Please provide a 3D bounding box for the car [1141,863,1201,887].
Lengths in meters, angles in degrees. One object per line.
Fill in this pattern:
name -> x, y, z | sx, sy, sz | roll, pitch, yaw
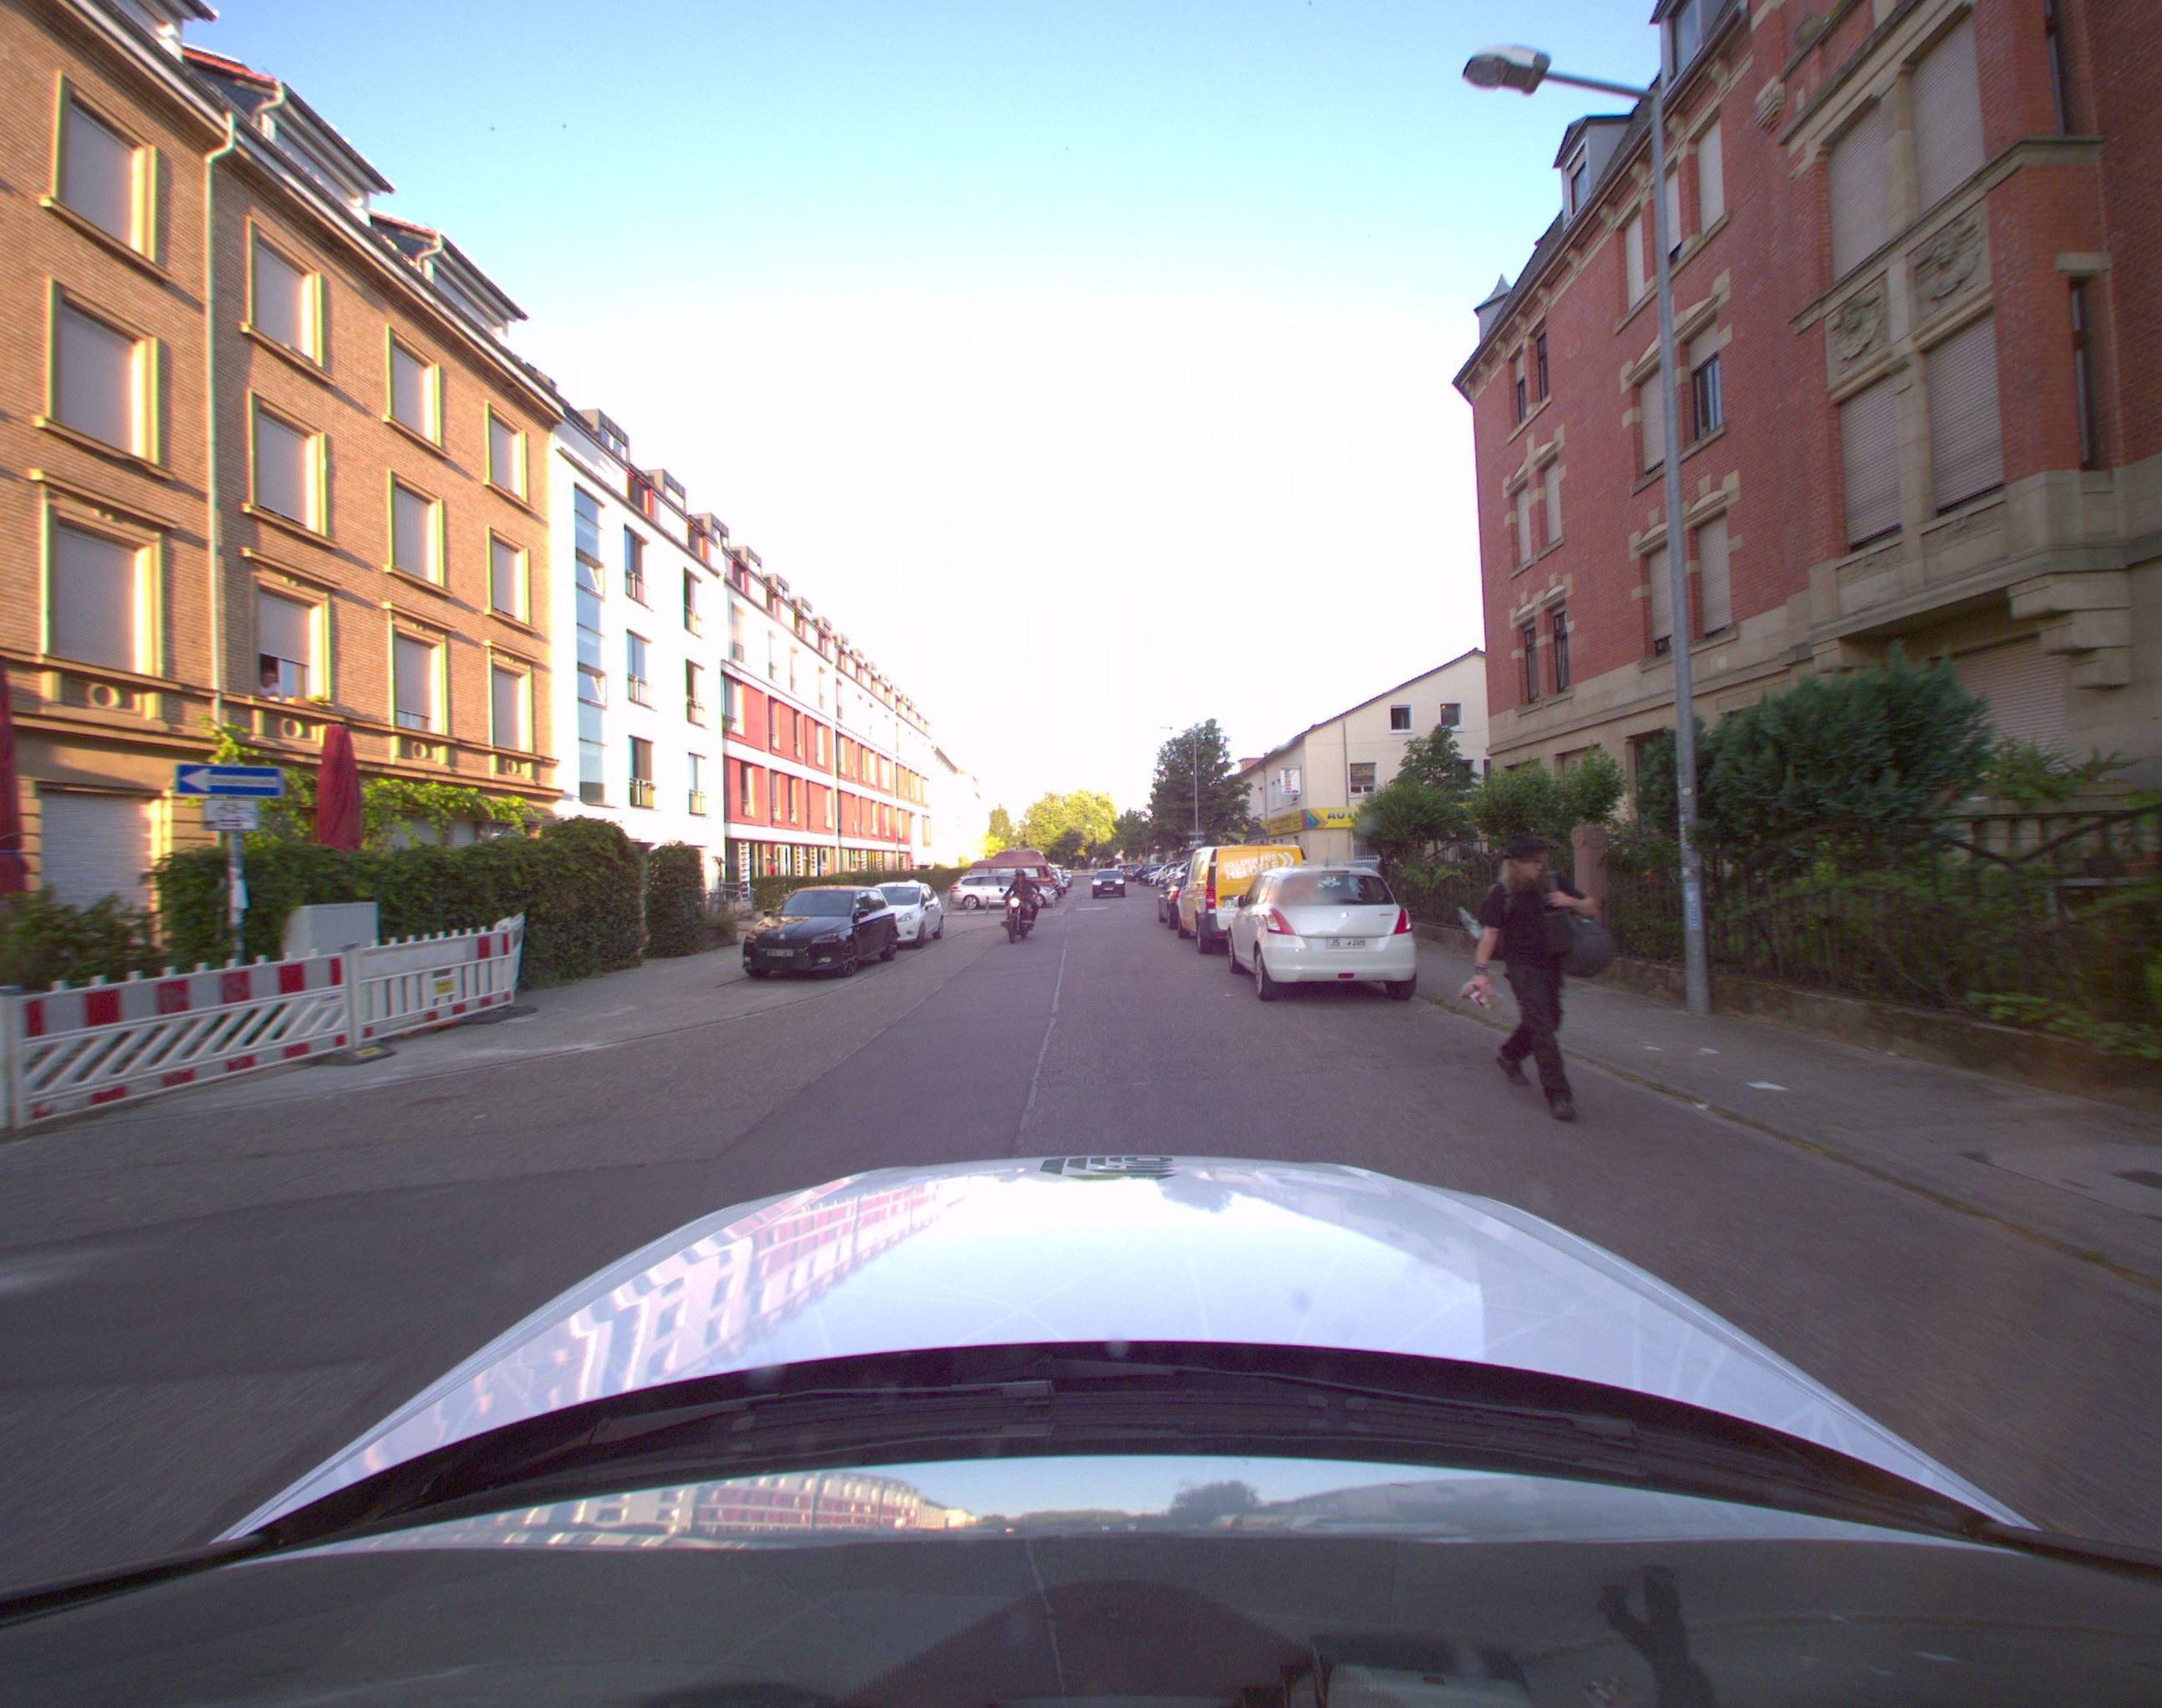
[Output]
car -> 7.754, 1.835, 70.610 | 4.929, 1.689, 2.076 | -4, -1, -1

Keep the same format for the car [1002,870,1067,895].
car -> -3.107, 1.922, 55.184 | 4.241, 1.660, 2.000 | -1, -1, 1

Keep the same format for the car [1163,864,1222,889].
car -> 7.979, 1.623, 58.458 | 3.897, 1.526, 1.940 | -4, -1, 2

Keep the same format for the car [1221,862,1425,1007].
car -> 2.848, 0.875, 10.429 | 1.667, 1.477, 3.865 | -1, -1, 4

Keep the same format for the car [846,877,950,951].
car -> -4.289, 1.353, 19.660 | 1.646, 1.530, 4.014 | -1, -1, -2

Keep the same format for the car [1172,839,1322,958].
car -> 2.978, 0.774, 15.733 | 1.887, 1.884, 5.082 | -1, -1, 1

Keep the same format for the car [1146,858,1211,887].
car -> 7.814, 1.494, 65.723 | 4.929, 1.958, 2.048 | -4, -1, -1

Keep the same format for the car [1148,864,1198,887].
car -> 8.492, 1.988, 75.503 | 4.304, 1.804, 1.810 | -4, -1, -1

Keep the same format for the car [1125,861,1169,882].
car -> 7.142, 1.920, 88.094 | 4.470, 1.912, 1.685 | -4, -1, -4

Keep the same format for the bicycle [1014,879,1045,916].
bicycle -> -1.822, 1.532, 29.216 | 0.804, 1.221, 2.867 | -1, -1, 3

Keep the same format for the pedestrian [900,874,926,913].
pedestrian -> -6.645, 1.553, 32.314 | 0.829, 1.501, 0.798 | -1, -1, 1

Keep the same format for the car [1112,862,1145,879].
car -> 6.022, 2.123, 103.722 | 3.960, 1.912, 2.046 | -4, -1, -4

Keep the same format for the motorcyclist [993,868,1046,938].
motorcyclist -> -1.412, 1.109, 18.759 | 0.884, 1.505, 0.972 | -5, -2, 11

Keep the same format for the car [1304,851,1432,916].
car -> 7.343, 0.741, 21.319 | 1.720, 1.424, 4.422 | -3, -1, 0

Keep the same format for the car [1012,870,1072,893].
car -> -2.827, 1.980, 59.536 | 4.241, 1.652, 1.888 | -1, -1, 1

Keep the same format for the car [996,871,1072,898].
car -> -2.692, 1.735, 47.285 | 4.193, 1.490, 1.850 | -1, -1, 1

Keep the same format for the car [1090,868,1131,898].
car -> 1.693, 1.561, 44.927 | 1.769, 1.517, 4.009 | -3, -1, 8

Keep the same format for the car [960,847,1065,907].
car -> -3.066, 1.040, 37.125 | 4.493, 2.584, 2.001 | -1, -1, 2

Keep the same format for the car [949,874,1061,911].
car -> -3.144, 1.592, 34.534 | 4.604, 1.460, 1.879 | 0, -1, -3

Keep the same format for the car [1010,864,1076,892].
car -> -2.847, 1.805, 62.097 | 4.833, 2.021, 1.906 | -1, -1, 1

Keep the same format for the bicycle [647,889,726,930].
bicycle -> -11.552, 1.607, 23.877 | 1.908, 1.142, 0.812 | -1, -1, 1

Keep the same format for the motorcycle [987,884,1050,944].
motorcycle -> -1.399, 1.349, 18.774 | 0.841, 1.209, 2.081 | -5, -2, 11

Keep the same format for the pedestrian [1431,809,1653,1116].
pedestrian -> 2.815, 0.619, 5.104 | 0.883, 1.722, 0.961 | -1, -1, 7

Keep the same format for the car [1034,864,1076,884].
car -> -2.872, 2.190, 90.607 | 4.517, 2.134, 2.000 | -1, -1, 1

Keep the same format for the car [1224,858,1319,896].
car -> 8.922, 1.061, 38.340 | 4.035, 1.514, 1.757 | -3, 0, 2

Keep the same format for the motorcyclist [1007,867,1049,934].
motorcyclist -> -1.272, 1.105, 19.521 | 0.782, 1.540, 0.547 | -5, -2, 10

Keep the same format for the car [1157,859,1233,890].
car -> 7.754, 1.374, 55.850 | 4.925, 1.742, 2.050 | -4, -1, 1

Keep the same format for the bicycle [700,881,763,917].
bicycle -> -11.366, 1.456, 26.503 | 1.768, 1.148, 0.611 | -1, -1, 3

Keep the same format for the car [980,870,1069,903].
car -> -2.692, 1.578, 39.635 | 4.196, 1.538, 1.790 | -1, -1, -1

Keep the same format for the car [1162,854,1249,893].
car -> 7.643, 1.202, 50.509 | 4.972, 1.983, 2.220 | -4, -1, 1

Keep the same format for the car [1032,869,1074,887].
car -> -2.830, 2.434, 83.188 | 4.241, 1.715, 2.000 | -1, -1, 1

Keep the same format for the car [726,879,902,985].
car -> -4.484, 1.244, 14.300 | 1.697, 1.534, 3.845 | -1, -1, 1

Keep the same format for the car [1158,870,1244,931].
car -> 3.031, 1.141, 21.360 | 1.715, 1.424, 4.253 | -1, -1, 1
